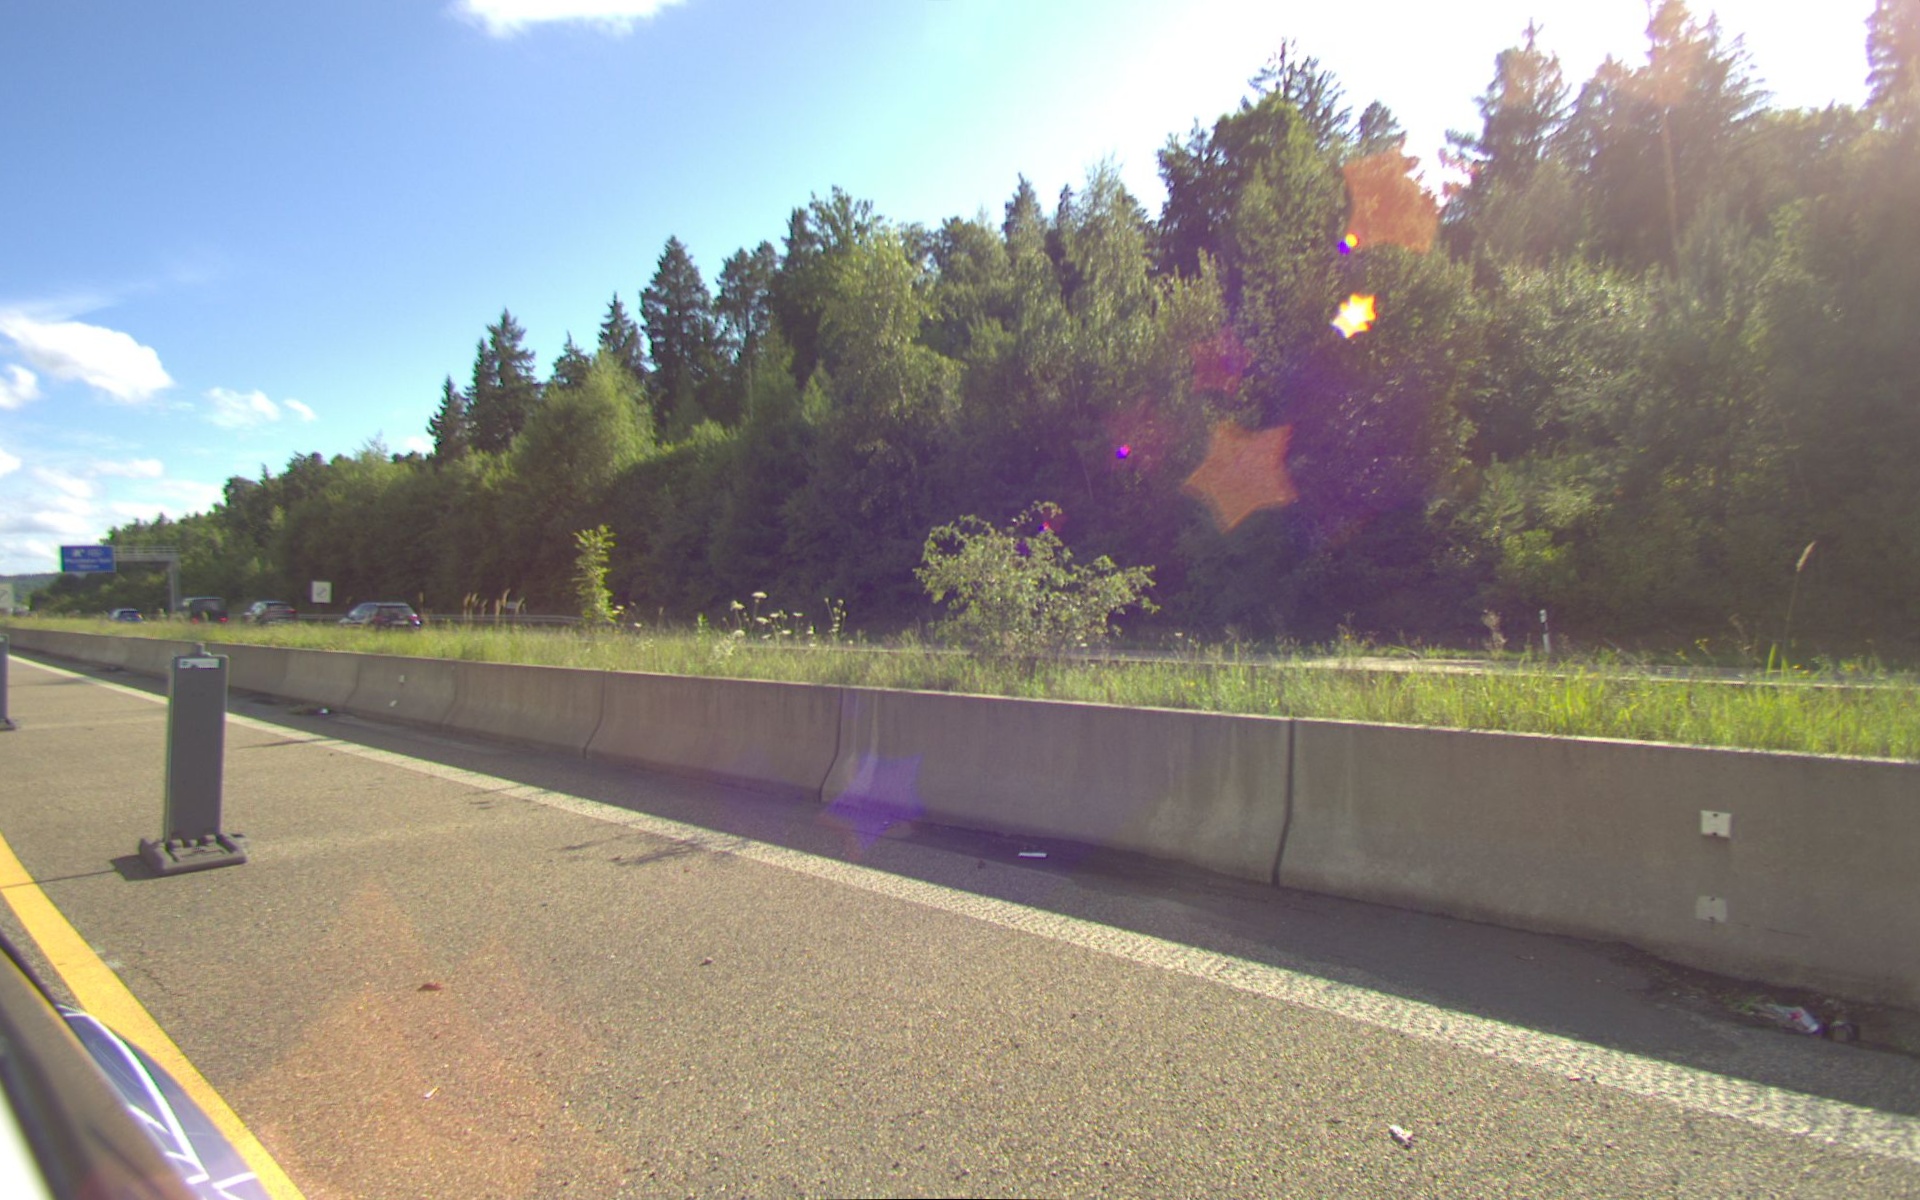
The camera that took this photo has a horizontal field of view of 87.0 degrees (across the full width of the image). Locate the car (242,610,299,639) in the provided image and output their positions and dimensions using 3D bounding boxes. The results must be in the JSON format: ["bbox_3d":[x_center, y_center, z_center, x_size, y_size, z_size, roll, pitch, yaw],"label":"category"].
[{"bbox_3d":[-42.395,1.480,62.175,4.615,1.701,1.759,-1,0,41],"label":"car"}]

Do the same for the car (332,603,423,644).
[{"bbox_3d":[-22.284,0.876,38.666,4.102,1.467,1.759,-1,0,41],"label":"car"}]

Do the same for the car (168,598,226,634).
[{"bbox_3d":[-43.528,0.890,57.701,4.615,1.917,1.759,-1,0,41],"label":"car"}]

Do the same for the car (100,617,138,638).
[{"bbox_3d":[-69.236,2.259,83.328,4.309,1.614,1.759,-1,0,41],"label":"car"}]
